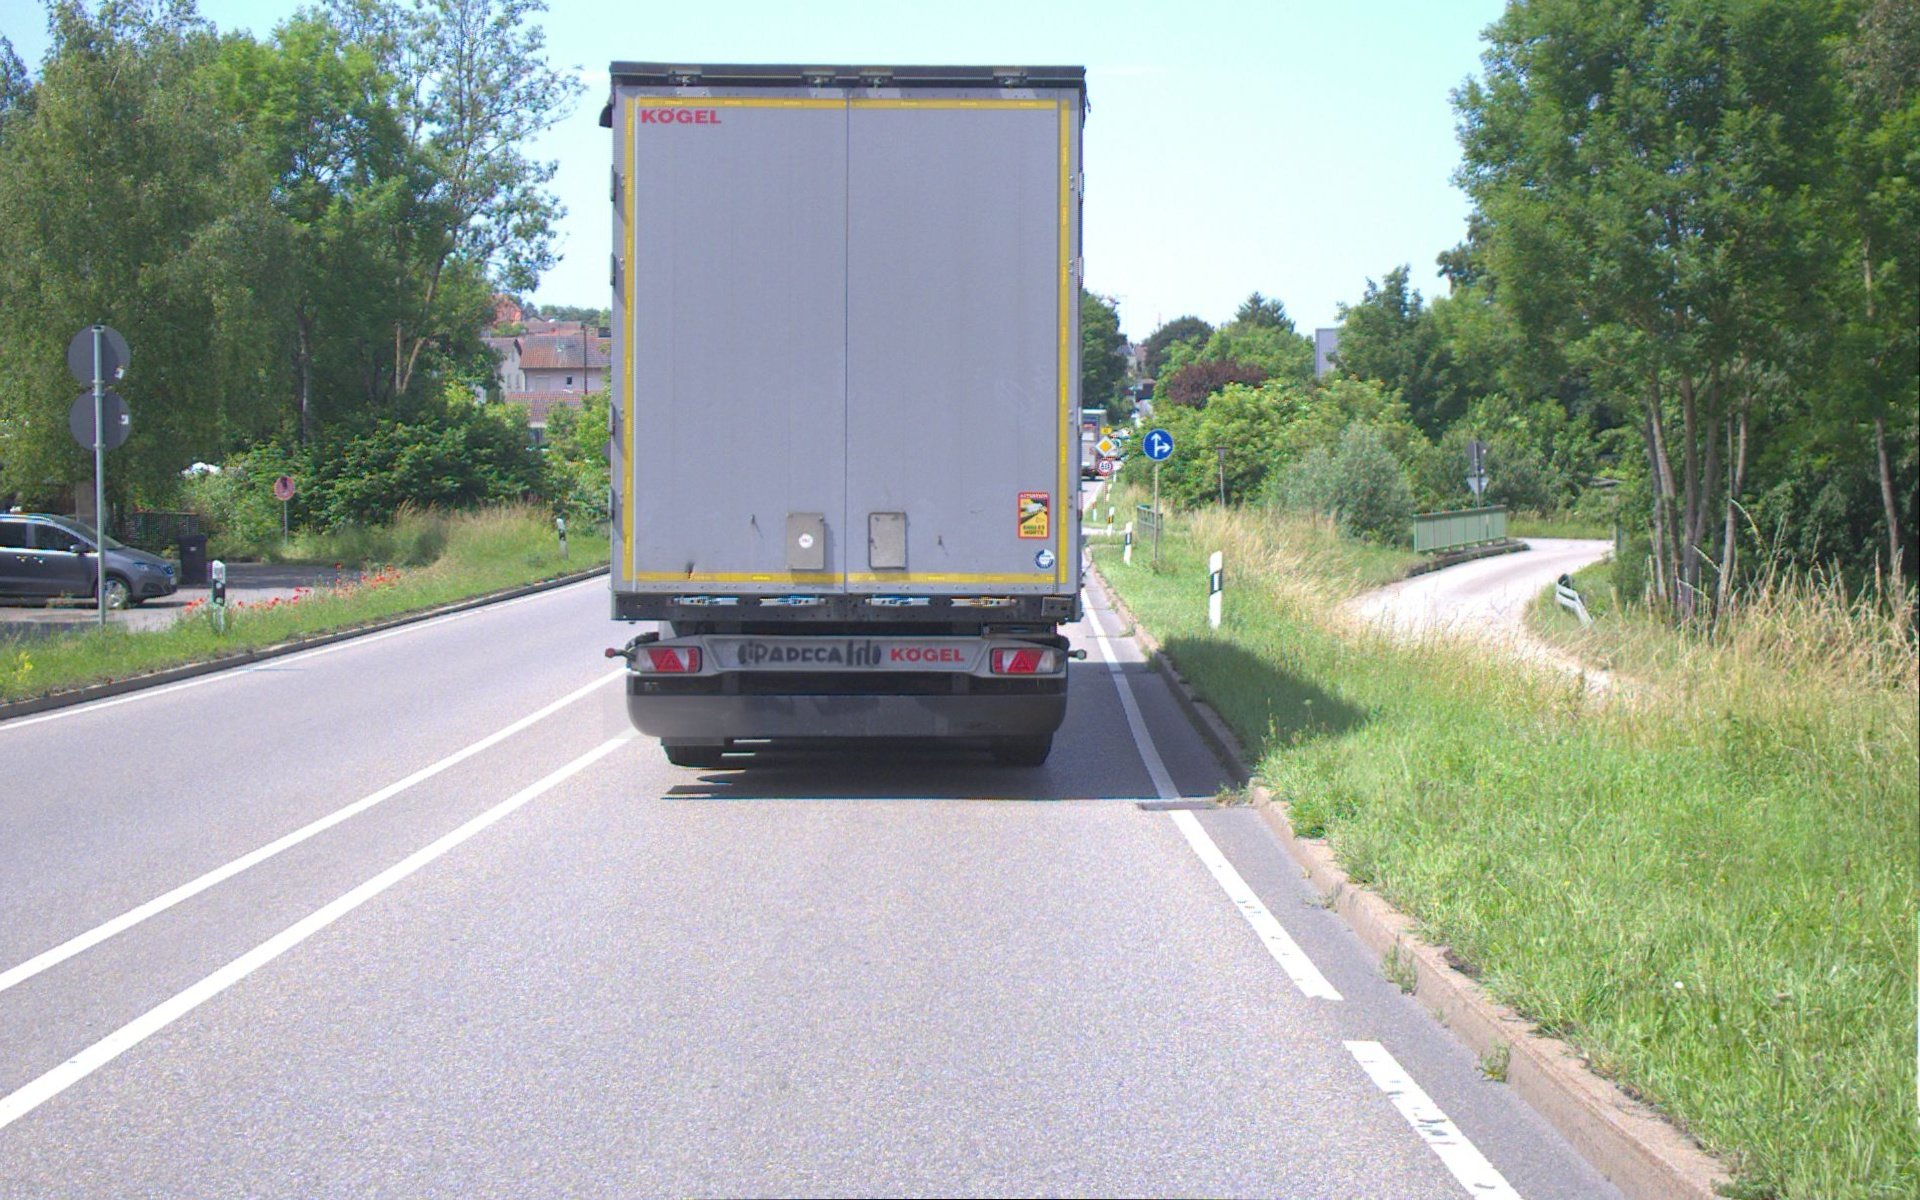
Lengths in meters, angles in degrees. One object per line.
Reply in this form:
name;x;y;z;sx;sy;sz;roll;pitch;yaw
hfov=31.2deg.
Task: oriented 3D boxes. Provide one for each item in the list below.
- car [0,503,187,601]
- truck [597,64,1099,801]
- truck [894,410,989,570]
car;-17.246;-0.930;65.457;4.662;1.714;1.862;1;4;-3
truck;-0.600;-1.018;22.722;2.647;3.903;8.826;0;2;0
truck;-0.570;-3.300;105.101;2.646;4.585;10.817;1;1;0
